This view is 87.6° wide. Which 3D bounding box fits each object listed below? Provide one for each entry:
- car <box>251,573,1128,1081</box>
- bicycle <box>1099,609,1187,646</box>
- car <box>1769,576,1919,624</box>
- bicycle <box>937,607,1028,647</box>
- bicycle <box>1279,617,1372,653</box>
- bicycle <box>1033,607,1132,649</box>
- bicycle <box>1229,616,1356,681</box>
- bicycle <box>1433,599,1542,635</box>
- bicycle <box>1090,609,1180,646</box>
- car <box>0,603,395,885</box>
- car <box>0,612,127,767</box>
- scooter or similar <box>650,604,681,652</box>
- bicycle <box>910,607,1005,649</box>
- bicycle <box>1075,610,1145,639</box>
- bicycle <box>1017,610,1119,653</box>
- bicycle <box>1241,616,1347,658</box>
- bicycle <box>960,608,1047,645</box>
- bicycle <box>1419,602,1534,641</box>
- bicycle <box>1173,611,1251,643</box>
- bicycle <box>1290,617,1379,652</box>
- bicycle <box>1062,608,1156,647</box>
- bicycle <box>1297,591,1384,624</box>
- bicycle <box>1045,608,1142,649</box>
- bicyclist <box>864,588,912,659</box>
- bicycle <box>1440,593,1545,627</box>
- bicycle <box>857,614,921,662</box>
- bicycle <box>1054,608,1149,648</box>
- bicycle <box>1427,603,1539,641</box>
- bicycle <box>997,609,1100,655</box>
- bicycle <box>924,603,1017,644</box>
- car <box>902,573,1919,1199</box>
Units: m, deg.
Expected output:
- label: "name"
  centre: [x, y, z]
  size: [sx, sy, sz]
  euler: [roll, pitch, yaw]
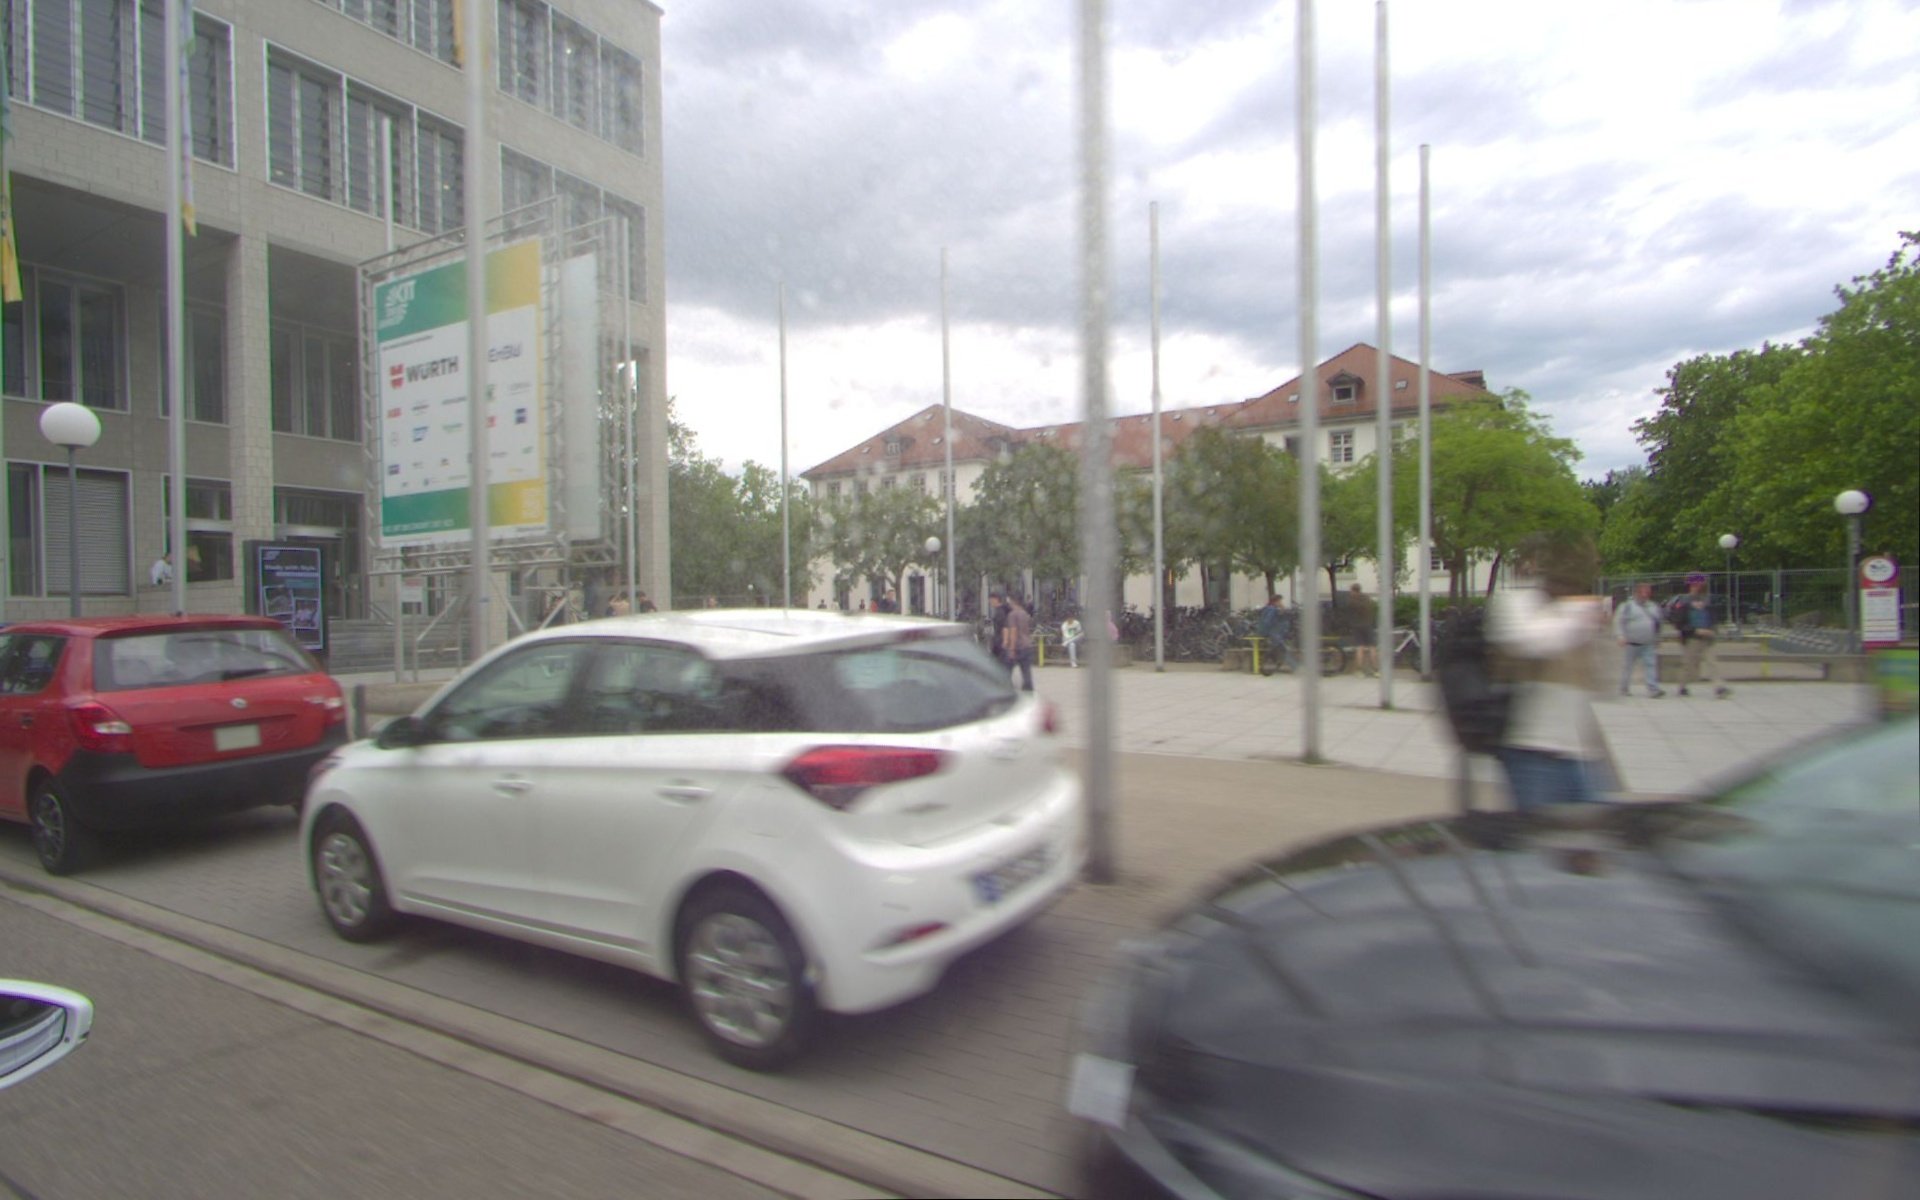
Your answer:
- label: "car"
  centre: [-1.344, 0.688, 4.684]
  size: [3.802, 1.472, 1.857]
  euler: [-1, 0, 31]
- label: "bicycle"
  centre: [6.624, 0.976, 36.325]
  size: [3.062, 1.185, 0.744]
  euler: [2, 0, 32]
- label: "car"
  centre: [34.944, 0.020, 39.692]
  size: [3.991, 1.776, 1.998]
  euler: [-1, 0, 15]
- label: "bicycle"
  centre: [0.709, 0.873, 33.121]
  size: [3.063, 1.185, 0.744]
  euler: [2, 0, 33]
- label: "bicycle"
  centre: [13.319, 1.253, 36.532]
  size: [3.063, 1.185, 0.744]
  euler: [2, 0, 33]
- label: "bicycle"
  centre: [3.825, 0.868, 31.515]
  size: [3.063, 1.185, 0.744]
  euler: [2, 0, 33]
- label: "bicycle"
  centre: [6.715, 0.956, 20.298]
  size: [2.375, 1.185, 0.455]
  euler: [2, 1, 27]
- label: "bicycle"
  centre: [19.030, 0.631, 36.198]
  size: [3.351, 1.185, 1.048]
  euler: [-2, -1, 37]
- label: "bicycle"
  centre: [6.204, 0.960, 35.672]
  size: [3.062, 1.185, 0.744]
  euler: [2, 0, 32]
- label: "car"
  centre: [-6.212, 0.819, 7.357]
  size: [4.211, 1.493, 1.708]
  euler: [0, 2, 31]
- label: "car"
  centre: [-10.831, 0.894, 10.509]
  size: [4.309, 1.430, 1.693]
  euler: [-1, 0, 28]
- label: "scooter or similar"
  centre: [-8.921, 0.827, 30.360]
  size: [0.397, 1.387, 1.492]
  euler: [2, 0, 4]
- label: "bicycle"
  centre: [-0.107, 0.875, 31.782]
  size: [3.063, 1.185, 0.744]
  euler: [2, 0, 33]
- label: "bicycle"
  centre: [6.779, 1.114, 45.319]
  size: [3.063, 1.185, 0.744]
  euler: [2, 0, 33]
- label: "bicycle"
  centre: [3.292, 0.949, 30.768]
  size: [3.063, 1.185, 0.744]
  euler: [2, 0, 33]
- label: "bicycle"
  centre: [10.575, 1.147, 31.801]
  size: [3.063, 1.185, 0.744]
  euler: [2, 0, 33]
- label: "bicycle"
  centre: [1.484, 0.904, 34.823]
  size: [3.063, 1.185, 0.744]
  euler: [2, 0, 33]
- label: "bicycle"
  centre: [17.644, 0.728, 34.272]
  size: [3.349, 1.185, 1.049]
  euler: [2, 0, 37]
- label: "bicycle"
  centre: [10.529, 1.123, 41.858]
  size: [3.062, 1.185, 0.744]
  euler: [2, 0, 32]
- label: "bicycle"
  centre: [14.220, 1.288, 38.124]
  size: [3.063, 1.185, 0.744]
  euler: [2, 0, 33]
- label: "bicycle"
  centre: [4.964, 0.912, 33.544]
  size: [3.063, 1.185, 0.744]
  euler: [2, 0, 33]
- label: "bicycle"
  centre: [14.774, 0.301, 38.952]
  size: [3.063, 1.185, 0.744]
  euler: [2, 0, 33]
- label: "bicycle"
  centre: [4.259, 0.885, 32.161]
  size: [3.063, 1.185, 0.744]
  euler: [2, 0, 33]
- label: "bicyclist"
  centre: [-1.726, 0.557, 23.992]
  size: [0.863, 1.663, 0.863]
  euler: [0, 0, -29]
- label: "bicycle"
  centre: [19.697, 0.380, 37.100]
  size: [3.351, 1.185, 1.048]
  euler: [-1, 0, 37]
- label: "bicycle"
  centre: [-1.723, 0.885, 24.005]
  size: [0.863, 1.108, 1.792]
  euler: [0, 0, -29]
- label: "bicycle"
  centre: [4.615, 0.899, 32.842]
  size: [3.063, 1.185, 0.744]
  euler: [2, 0, 33]
- label: "bicycle"
  centre: [18.391, 0.756, 35.301]
  size: [3.349, 1.185, 1.049]
  euler: [2, 0, 37]
- label: "bicycle"
  centre: [2.579, 0.921, 29.498]
  size: [3.063, 1.185, 0.619]
  euler: [2, 1, 33]
- label: "bicycle"
  centre: [0.317, 0.744, 32.444]
  size: [3.063, 1.185, 0.744]
  euler: [2, 0, 33]
- label: "car"
  centre: [2.320, 0.679, 1.367]
  size: [4.400, 1.421, 1.861]
  euler: [-1, 2, 20]
